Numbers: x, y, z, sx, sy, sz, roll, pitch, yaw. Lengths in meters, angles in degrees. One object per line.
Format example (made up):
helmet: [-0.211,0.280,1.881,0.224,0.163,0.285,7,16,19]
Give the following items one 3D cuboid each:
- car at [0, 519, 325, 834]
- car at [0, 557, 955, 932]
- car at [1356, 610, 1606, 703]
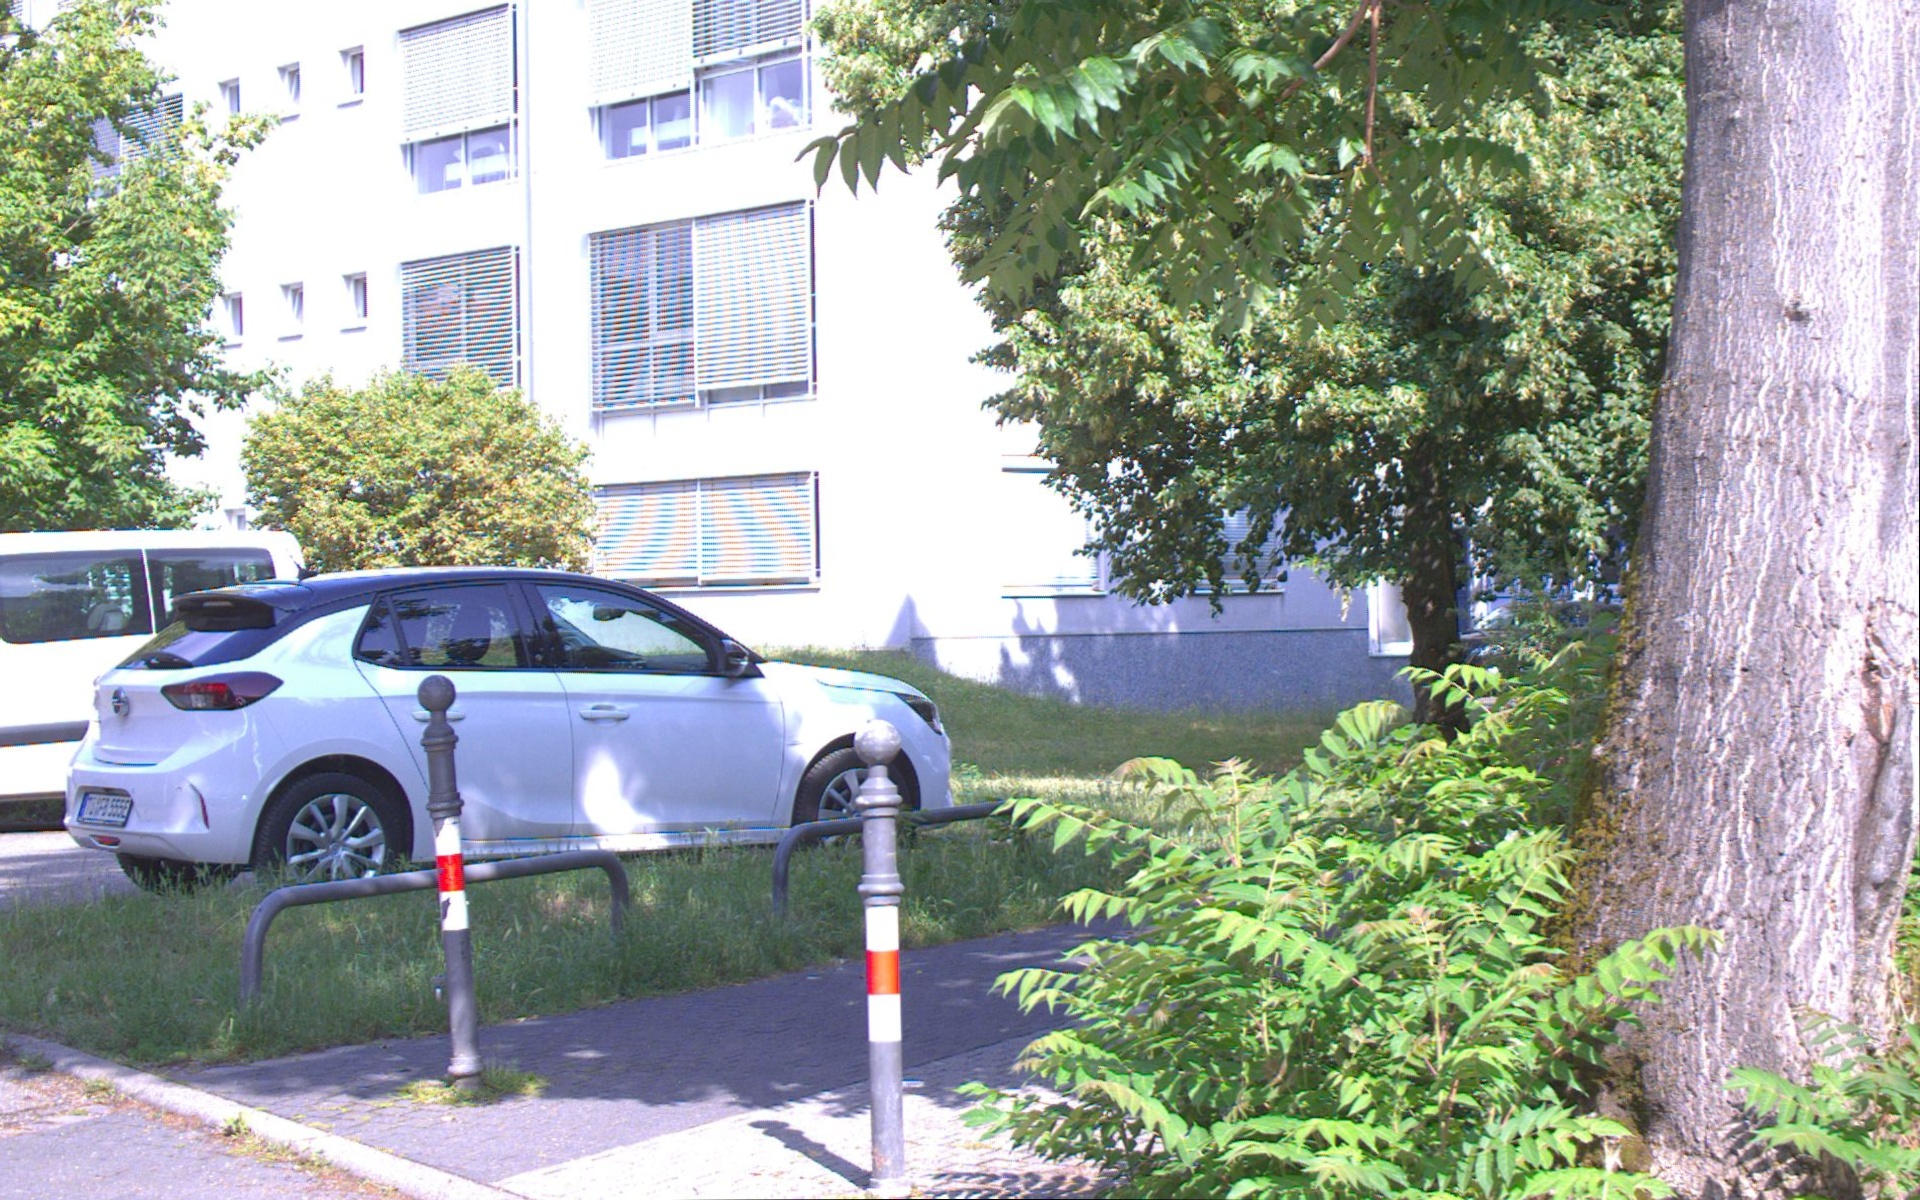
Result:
car: [-6.793,0.466,22.058,4.939,1.958,2.000,1,0,-33]
car: [-2.136,0.547,15.227,3.904,1.415,1.759,0,2,-35]
car: [8.654,0.914,57.029,3.904,1.415,1.759,0,2,-34]
